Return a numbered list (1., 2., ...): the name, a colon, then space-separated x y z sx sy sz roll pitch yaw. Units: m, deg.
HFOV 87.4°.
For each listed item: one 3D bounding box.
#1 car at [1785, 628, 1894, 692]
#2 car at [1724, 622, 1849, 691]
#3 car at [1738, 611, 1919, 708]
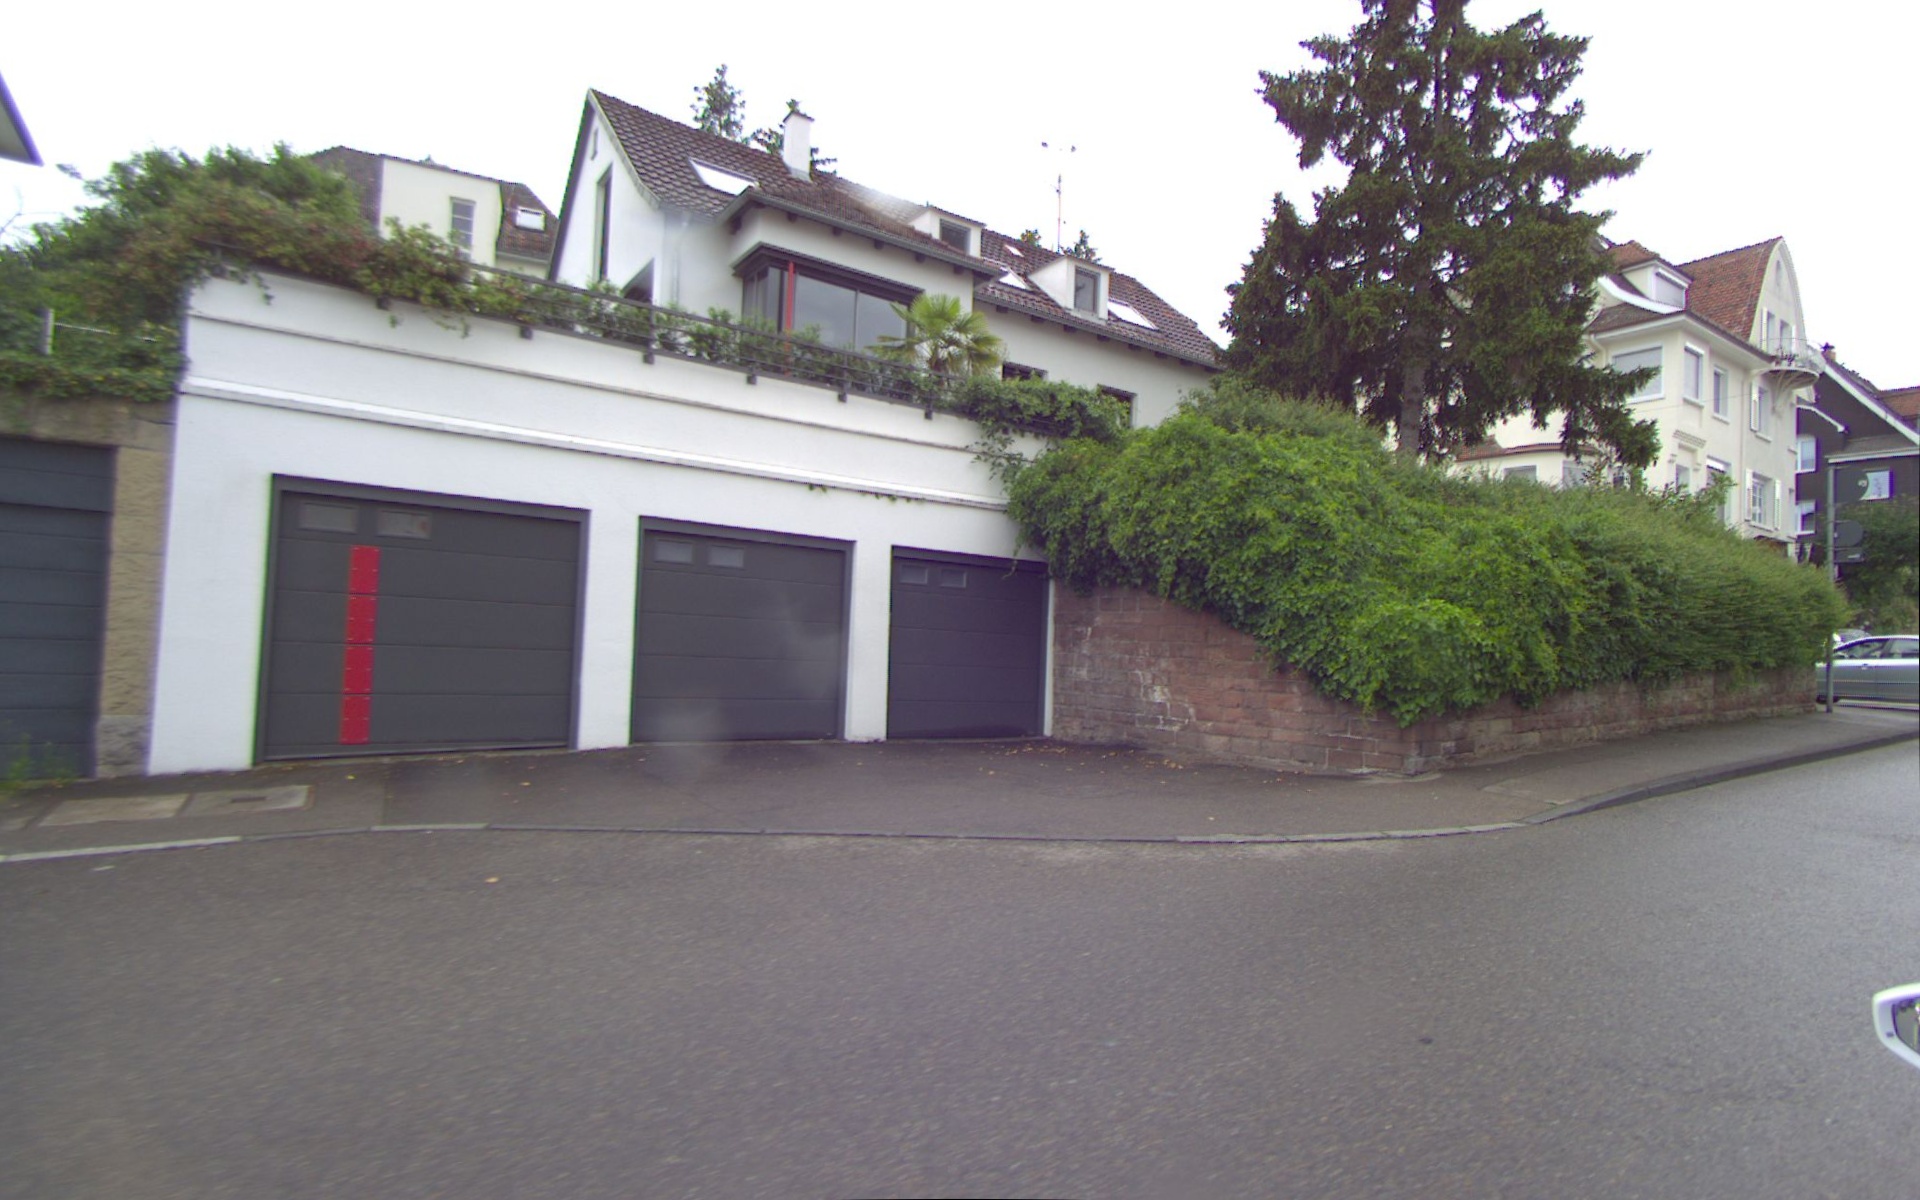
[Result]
1. car: 25.885 1.728 29.514 3.966 1.719 1.752 2 -1 -39
2. car: 21.624 1.449 26.246 3.966 1.639 1.752 2 -1 -39
3. car: 17.934 1.167 19.264 1.798 1.577 4.350 3 2 -26
